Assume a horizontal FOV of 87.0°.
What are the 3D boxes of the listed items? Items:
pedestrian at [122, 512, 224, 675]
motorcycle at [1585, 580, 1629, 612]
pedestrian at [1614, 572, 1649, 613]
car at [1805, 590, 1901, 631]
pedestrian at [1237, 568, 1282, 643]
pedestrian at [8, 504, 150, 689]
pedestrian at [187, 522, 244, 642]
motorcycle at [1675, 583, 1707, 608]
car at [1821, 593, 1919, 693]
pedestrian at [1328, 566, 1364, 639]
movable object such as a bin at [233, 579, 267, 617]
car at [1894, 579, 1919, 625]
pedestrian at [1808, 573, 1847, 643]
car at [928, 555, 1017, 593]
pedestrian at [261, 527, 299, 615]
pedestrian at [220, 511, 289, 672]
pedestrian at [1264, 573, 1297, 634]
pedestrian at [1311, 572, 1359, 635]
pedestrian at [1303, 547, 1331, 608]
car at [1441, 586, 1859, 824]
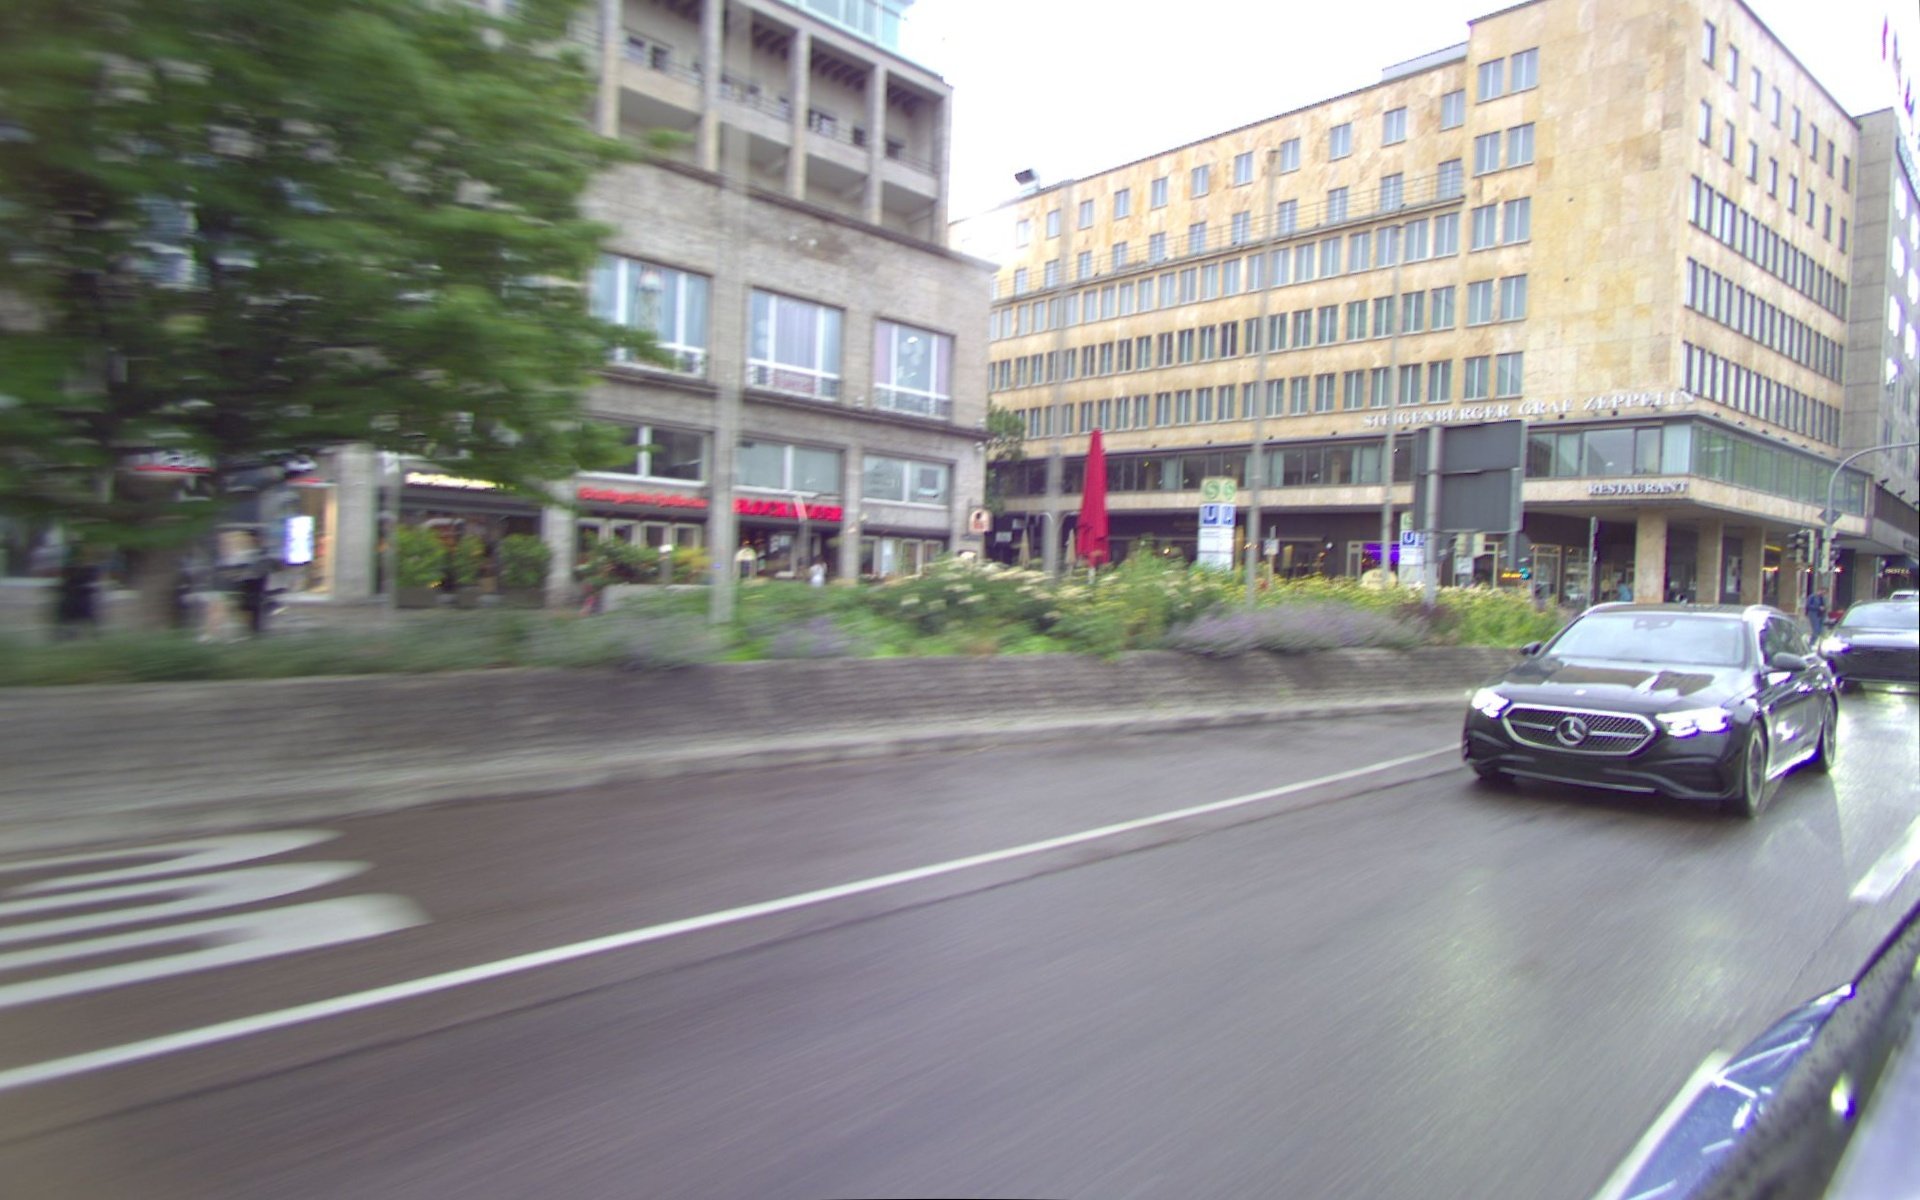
[{"bbox_3d":[-8.981,-0.082,11.550,0.854,1.773,0.613,0,1,-43],"label":"pedestrian"},{"bbox_3d":[30.986,-0.180,48.435,2.801,1.471,0.964,0,2,-41],"label":"motorcycle"},{"bbox_3d":[31.541,-0.363,47.534,1.089,1.869,1.001,0,3,-39],"label":"pedestrian"},{"bbox_3d":[34.862,0.365,39.477,4.404,1.431,2.193,0,2,-41],"label":"car"},{"bbox_3d":[7.308,0.128,24.703,0.823,1.773,0.698,0,1,-43],"label":"pedestrian"},{"bbox_3d":[-8.982,-0.043,10.335,1.058,1.773,0.641,0,1,-43],"label":"pedestrian"},{"bbox_3d":[-11.316,-0.276,15.380,0.625,1.773,0.532,1,1,-43],"label":"pedestrian"},{"bbox_3d":[37.213,-0.236,51.510,2.492,1.246,0.730,0,2,-41],"label":"motorcycle"},{"bbox_3d":[16.482,0.687,17.448,4.091,1.526,1.876,0,2,-41],"label":"car"},{"bbox_3d":[9.709,0.056,25.426,0.669,1.812,0.536,1,1,-38],"label":"pedestrian"},{"bbox_3d":[-14.110,-0.037,20.117,0.470,0.733,0.572,0,1,-43],"label":"movable object such as a bin"},{"bbox_3d":[42.254,0.089,43.910,4.909,1.908,1.997,0,2,-41],"label":"car"},{"bbox_3d":[24.698,0.226,28.813,0.779,1.943,0.674,1,1,-40],"label":"pedestrian"},{"bbox_3d":[0.650,-1.469,56.554,1.965,1.950,5.158,1,2,-41],"label":"car"},{"bbox_3d":[-13.933,-0.588,20.740,0.563,1.773,0.527,1,1,-42],"label":"pedestrian"},{"bbox_3d":[-8.058,-0.100,11.555,0.558,1.773,0.567,1,1,-43],"label":"pedestrian"},{"bbox_3d":[8.224,0.081,25.989,0.580,1.548,0.555,1,1,-38],"label":"pedestrian"},{"bbox_3d":[10.898,0.093,29.395,0.968,1.783,0.894,1,1,-38],"label":"pedestrian"},{"bbox_3d":[9.251,-0.591,26.224,0.504,1.565,0.425,1,1,-38],"label":"pedestrian"},{"bbox_3d":[6.059,0.655,8.642,4.618,1.482,1.822,0,2,-41],"label":"car"}]
